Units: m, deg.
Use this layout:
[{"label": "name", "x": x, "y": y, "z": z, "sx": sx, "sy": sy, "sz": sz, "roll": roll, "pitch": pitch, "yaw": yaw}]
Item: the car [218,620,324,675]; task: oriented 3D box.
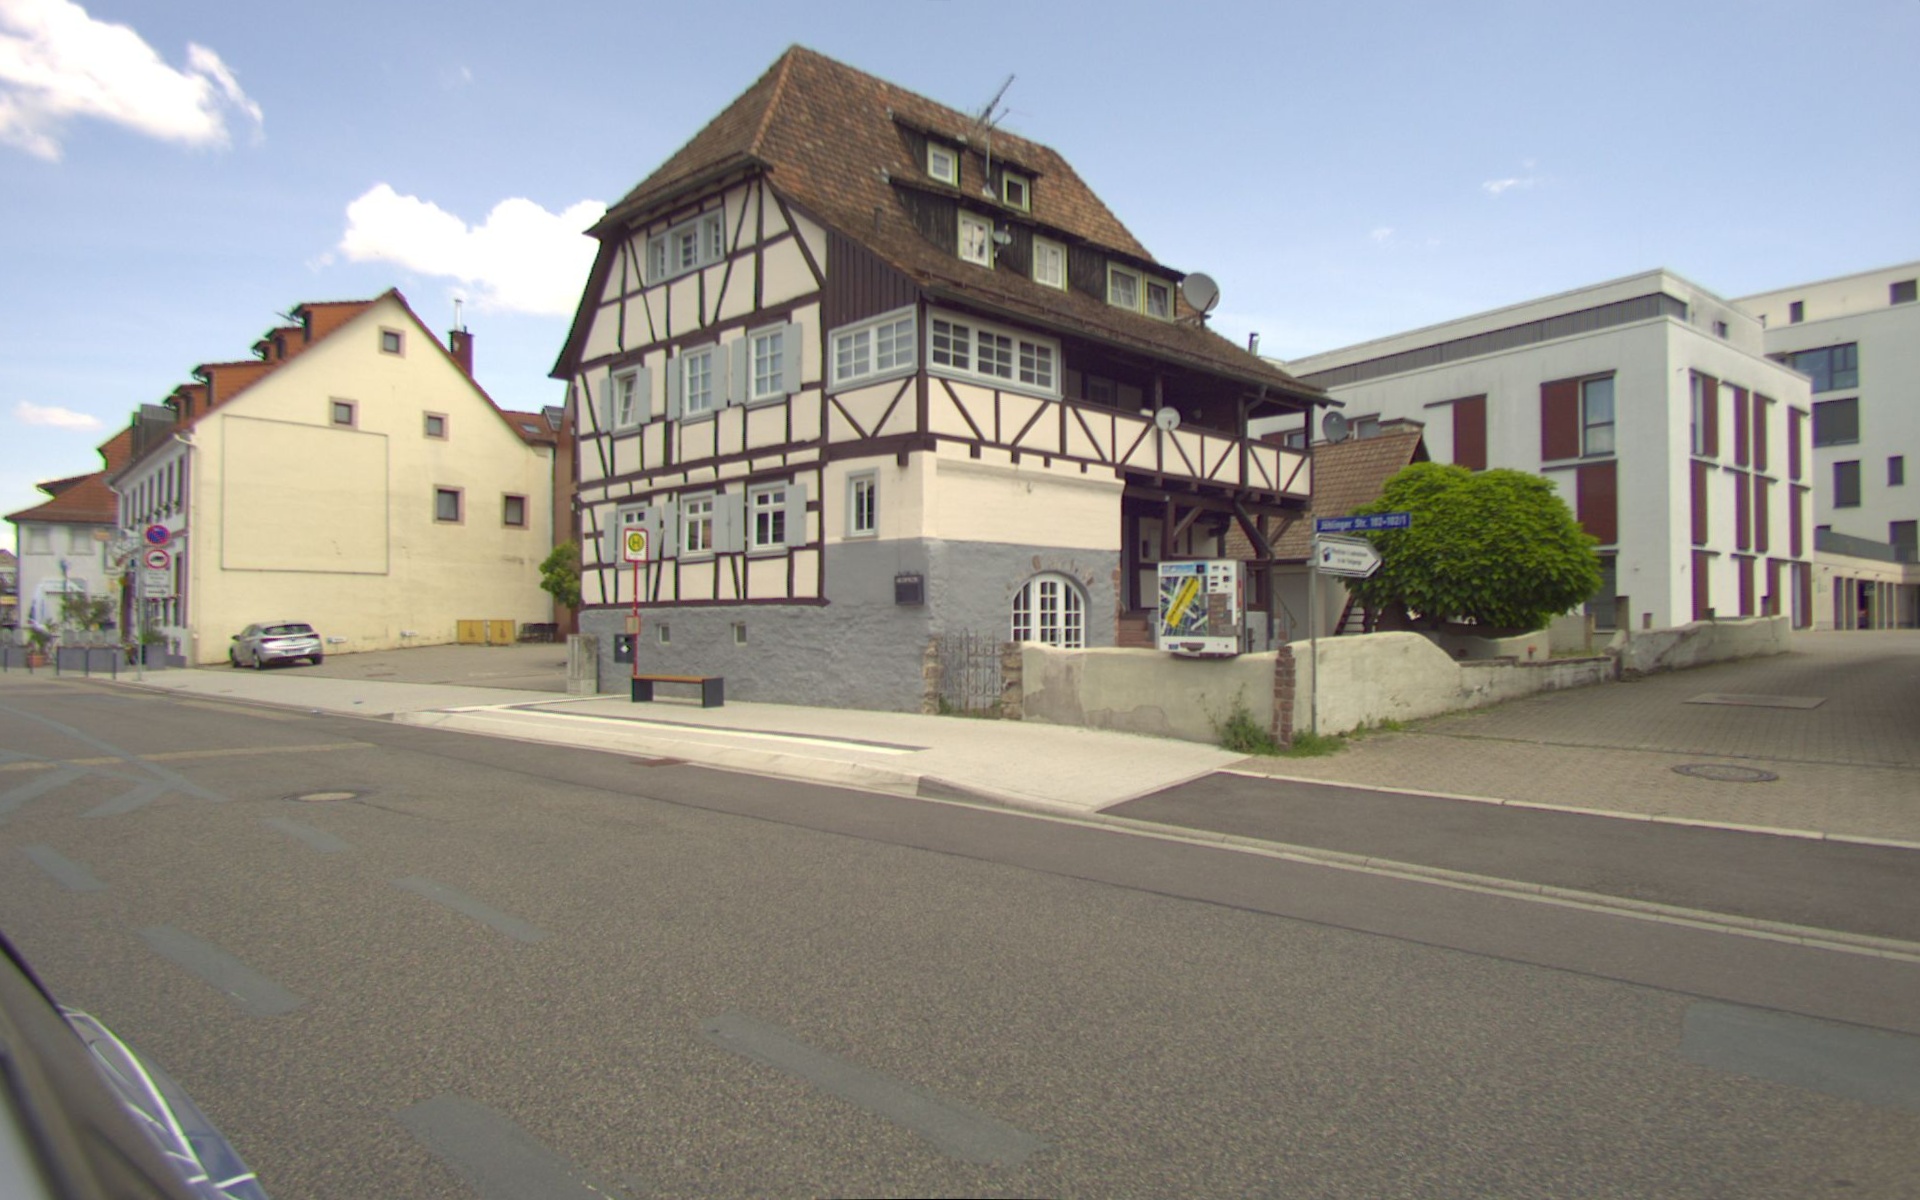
[{"label": "car", "x": -22.106, "y": 1.456, "z": 32.413, "sx": 4.274, "sy": 1.503, "sz": 1.740, "roll": -1, "pitch": 3, "yaw": 41}]
